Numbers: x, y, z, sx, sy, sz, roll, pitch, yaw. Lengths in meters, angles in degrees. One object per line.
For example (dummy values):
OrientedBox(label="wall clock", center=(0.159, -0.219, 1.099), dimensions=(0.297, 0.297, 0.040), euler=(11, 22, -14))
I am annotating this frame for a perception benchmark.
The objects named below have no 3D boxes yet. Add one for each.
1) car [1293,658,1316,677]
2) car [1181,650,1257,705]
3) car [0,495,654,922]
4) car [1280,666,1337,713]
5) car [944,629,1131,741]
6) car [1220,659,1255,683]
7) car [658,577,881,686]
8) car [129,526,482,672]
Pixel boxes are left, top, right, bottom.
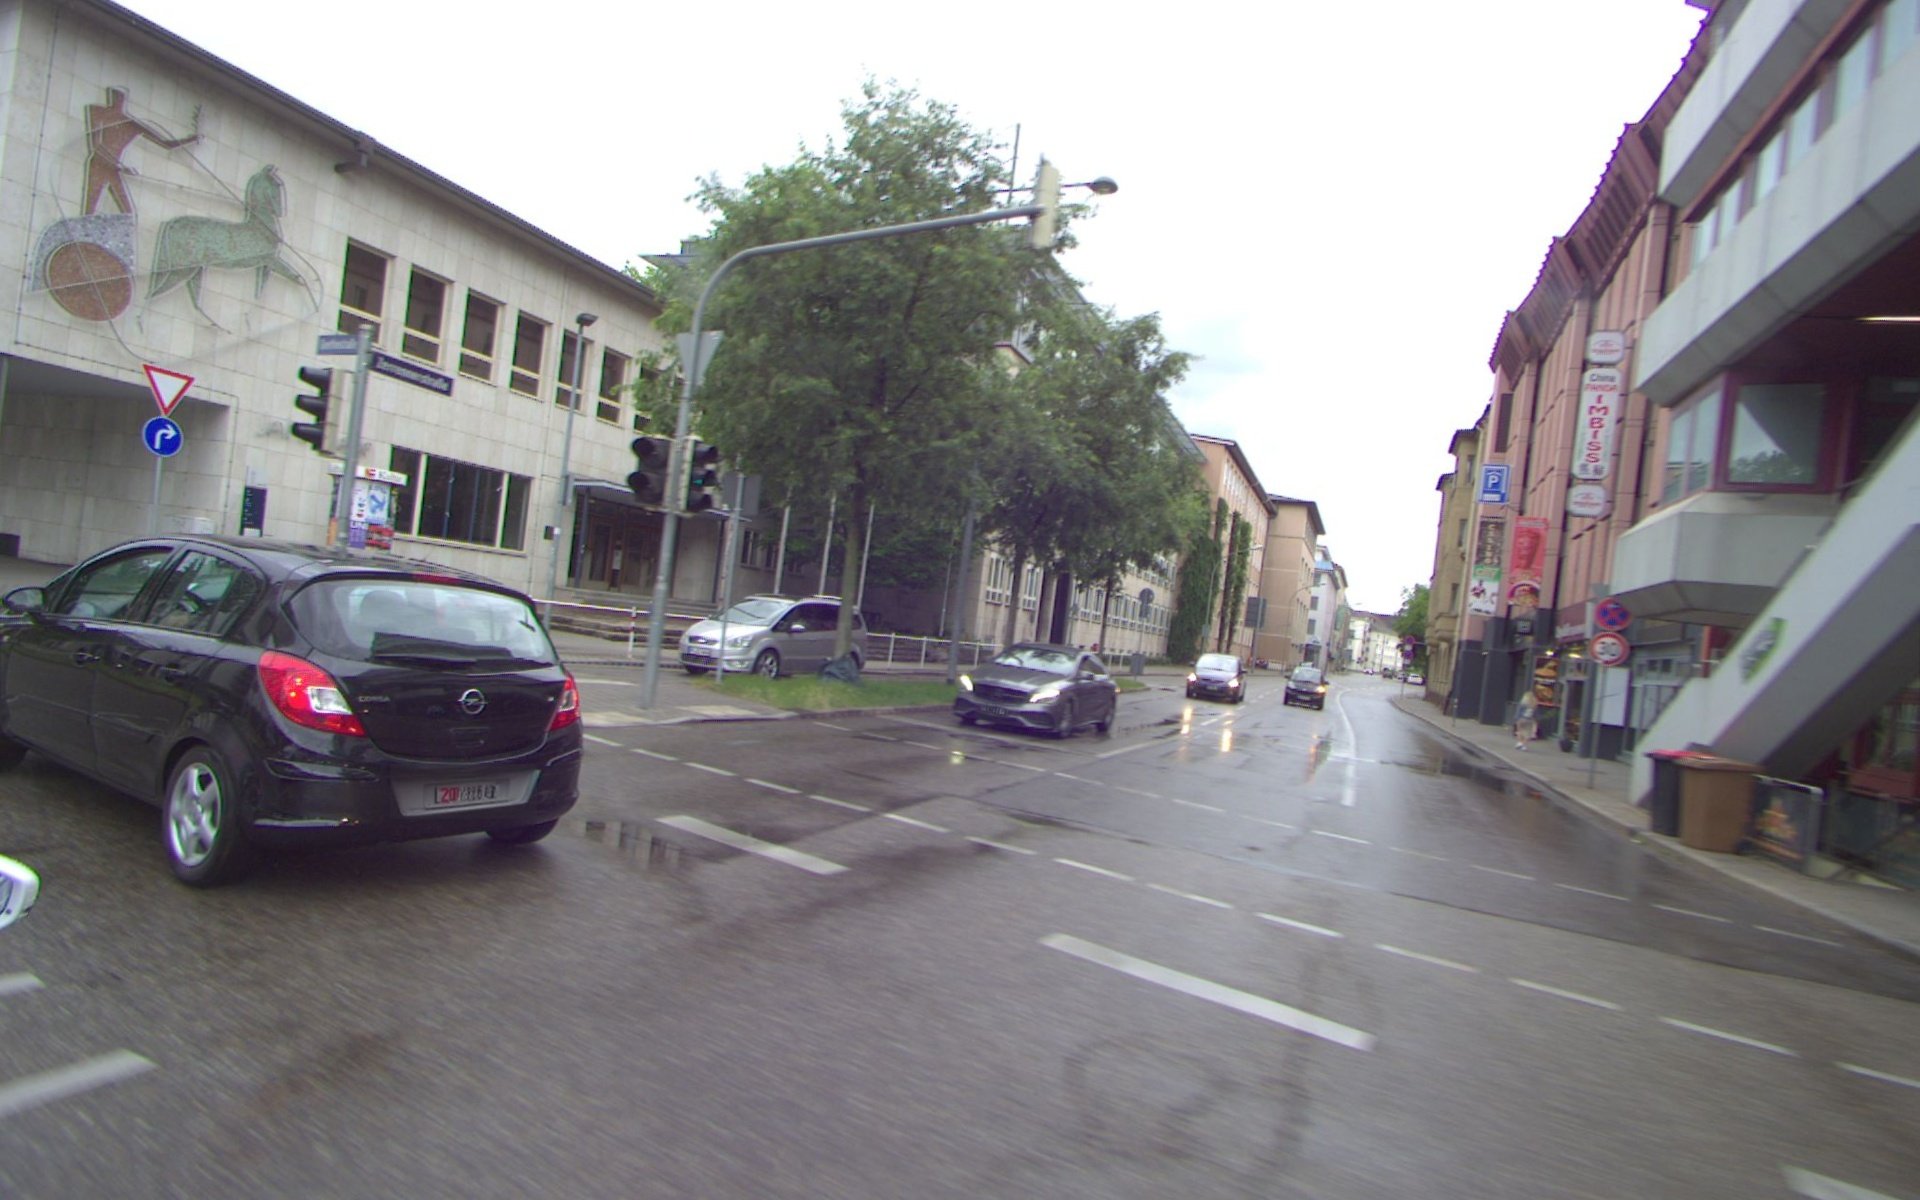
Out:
OrientedBox(label="car", center=(34.366, 6.715, 100.242), dimensions=(1.770, 1.485, 4.004), euler=(6, -3, 22))
OrientedBox(label="car", center=(9.262, 2.739, 35.816), dimensions=(1.852, 1.615, 3.999), euler=(7, -1, 24))
OrientedBox(label="car", center=(-3.698, 0.395, 5.439), dimensions=(3.679, 1.473, 1.713), euler=(6, -3, 30))
OrientedBox(label="car", center=(14.017, 3.625, 40.382), dimensions=(1.775, 1.568, 4.005), euler=(4, -5, 24))
OrientedBox(label="car", center=(1.462, 1.413, 16.959), dimensions=(1.755, 1.436, 4.274), euler=(7, -2, 23))
OrientedBox(label="car", center=(19.999, 5.112, 72.429), dimensions=(1.770, 1.487, 3.999), euler=(6, -1, 24))
OrientedBox(label="car", center=(-3.618, 0.721, 20.071), dimensions=(1.824, 1.780, 4.606), euler=(5, -2, 27))
OrientedBox(label="car", center=(-9.397, 0.037, 14.704), dimensions=(3.966, 1.493, 1.982), euler=(9, -3, -36))
